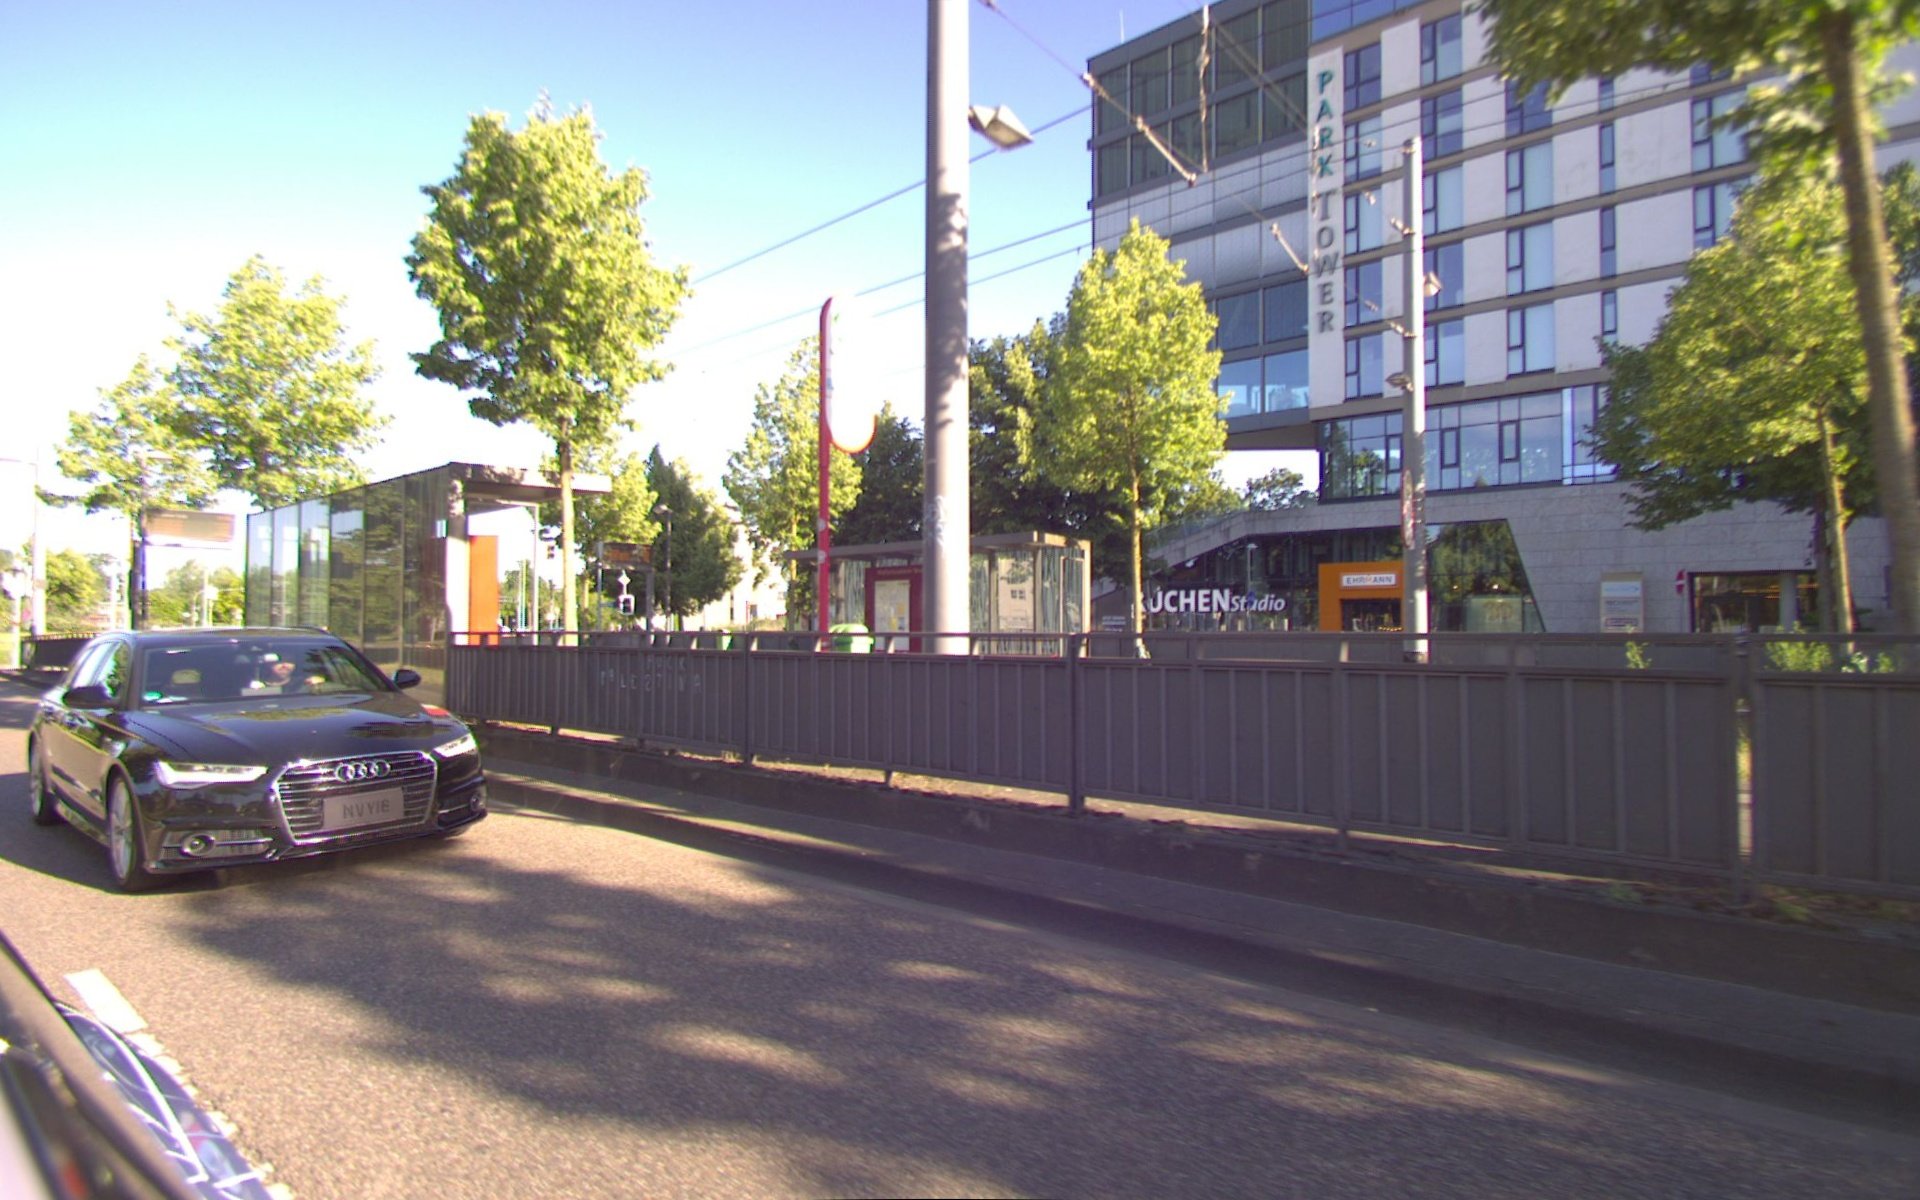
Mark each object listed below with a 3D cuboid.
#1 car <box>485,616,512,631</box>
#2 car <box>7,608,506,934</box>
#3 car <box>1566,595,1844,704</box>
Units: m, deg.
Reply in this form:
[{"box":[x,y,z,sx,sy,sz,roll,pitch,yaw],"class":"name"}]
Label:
[{"box":[-42.461,2.142,93.204,1.637,1.274,3.631,1,0,-14],"class":"car"},{"box":[-5.059,0.859,6.982,4.598,1.538,1.766,-2,-1,41],"class":"car"},{"box":[12.878,0.777,17.620,3.773,1.678,1.599,0,-1,41],"class":"car"}]
